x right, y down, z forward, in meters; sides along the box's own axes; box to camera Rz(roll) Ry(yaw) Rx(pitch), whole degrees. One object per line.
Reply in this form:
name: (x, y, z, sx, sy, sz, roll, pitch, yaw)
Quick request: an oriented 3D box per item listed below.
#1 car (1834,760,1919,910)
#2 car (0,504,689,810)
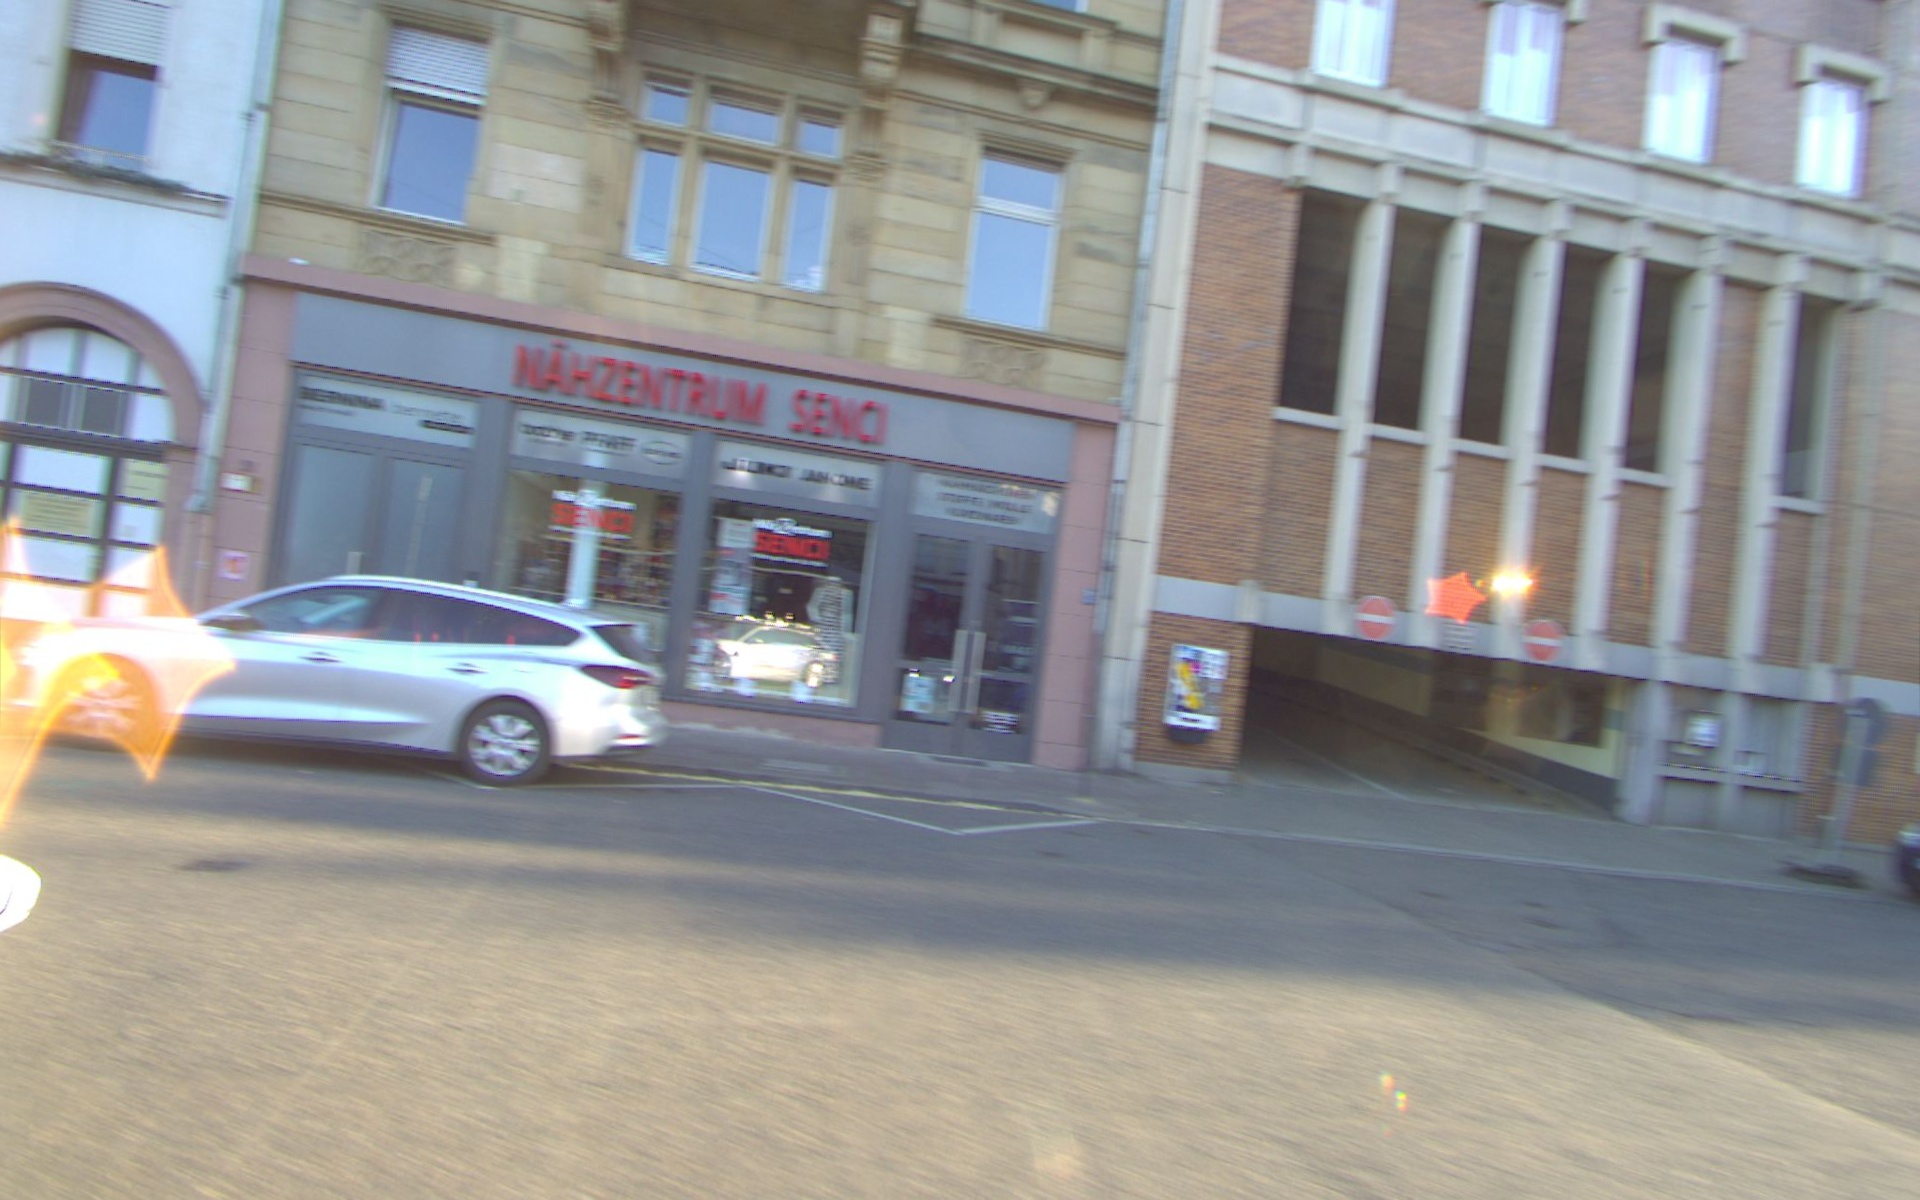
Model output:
car: (12.708, 2.972, 11.458, 3.933, 1.537, 1.998, 8, -2, -9)
car: (-4.755, 0.482, 8.188, 4.606, 1.552, 1.998, 9, -3, -11)
